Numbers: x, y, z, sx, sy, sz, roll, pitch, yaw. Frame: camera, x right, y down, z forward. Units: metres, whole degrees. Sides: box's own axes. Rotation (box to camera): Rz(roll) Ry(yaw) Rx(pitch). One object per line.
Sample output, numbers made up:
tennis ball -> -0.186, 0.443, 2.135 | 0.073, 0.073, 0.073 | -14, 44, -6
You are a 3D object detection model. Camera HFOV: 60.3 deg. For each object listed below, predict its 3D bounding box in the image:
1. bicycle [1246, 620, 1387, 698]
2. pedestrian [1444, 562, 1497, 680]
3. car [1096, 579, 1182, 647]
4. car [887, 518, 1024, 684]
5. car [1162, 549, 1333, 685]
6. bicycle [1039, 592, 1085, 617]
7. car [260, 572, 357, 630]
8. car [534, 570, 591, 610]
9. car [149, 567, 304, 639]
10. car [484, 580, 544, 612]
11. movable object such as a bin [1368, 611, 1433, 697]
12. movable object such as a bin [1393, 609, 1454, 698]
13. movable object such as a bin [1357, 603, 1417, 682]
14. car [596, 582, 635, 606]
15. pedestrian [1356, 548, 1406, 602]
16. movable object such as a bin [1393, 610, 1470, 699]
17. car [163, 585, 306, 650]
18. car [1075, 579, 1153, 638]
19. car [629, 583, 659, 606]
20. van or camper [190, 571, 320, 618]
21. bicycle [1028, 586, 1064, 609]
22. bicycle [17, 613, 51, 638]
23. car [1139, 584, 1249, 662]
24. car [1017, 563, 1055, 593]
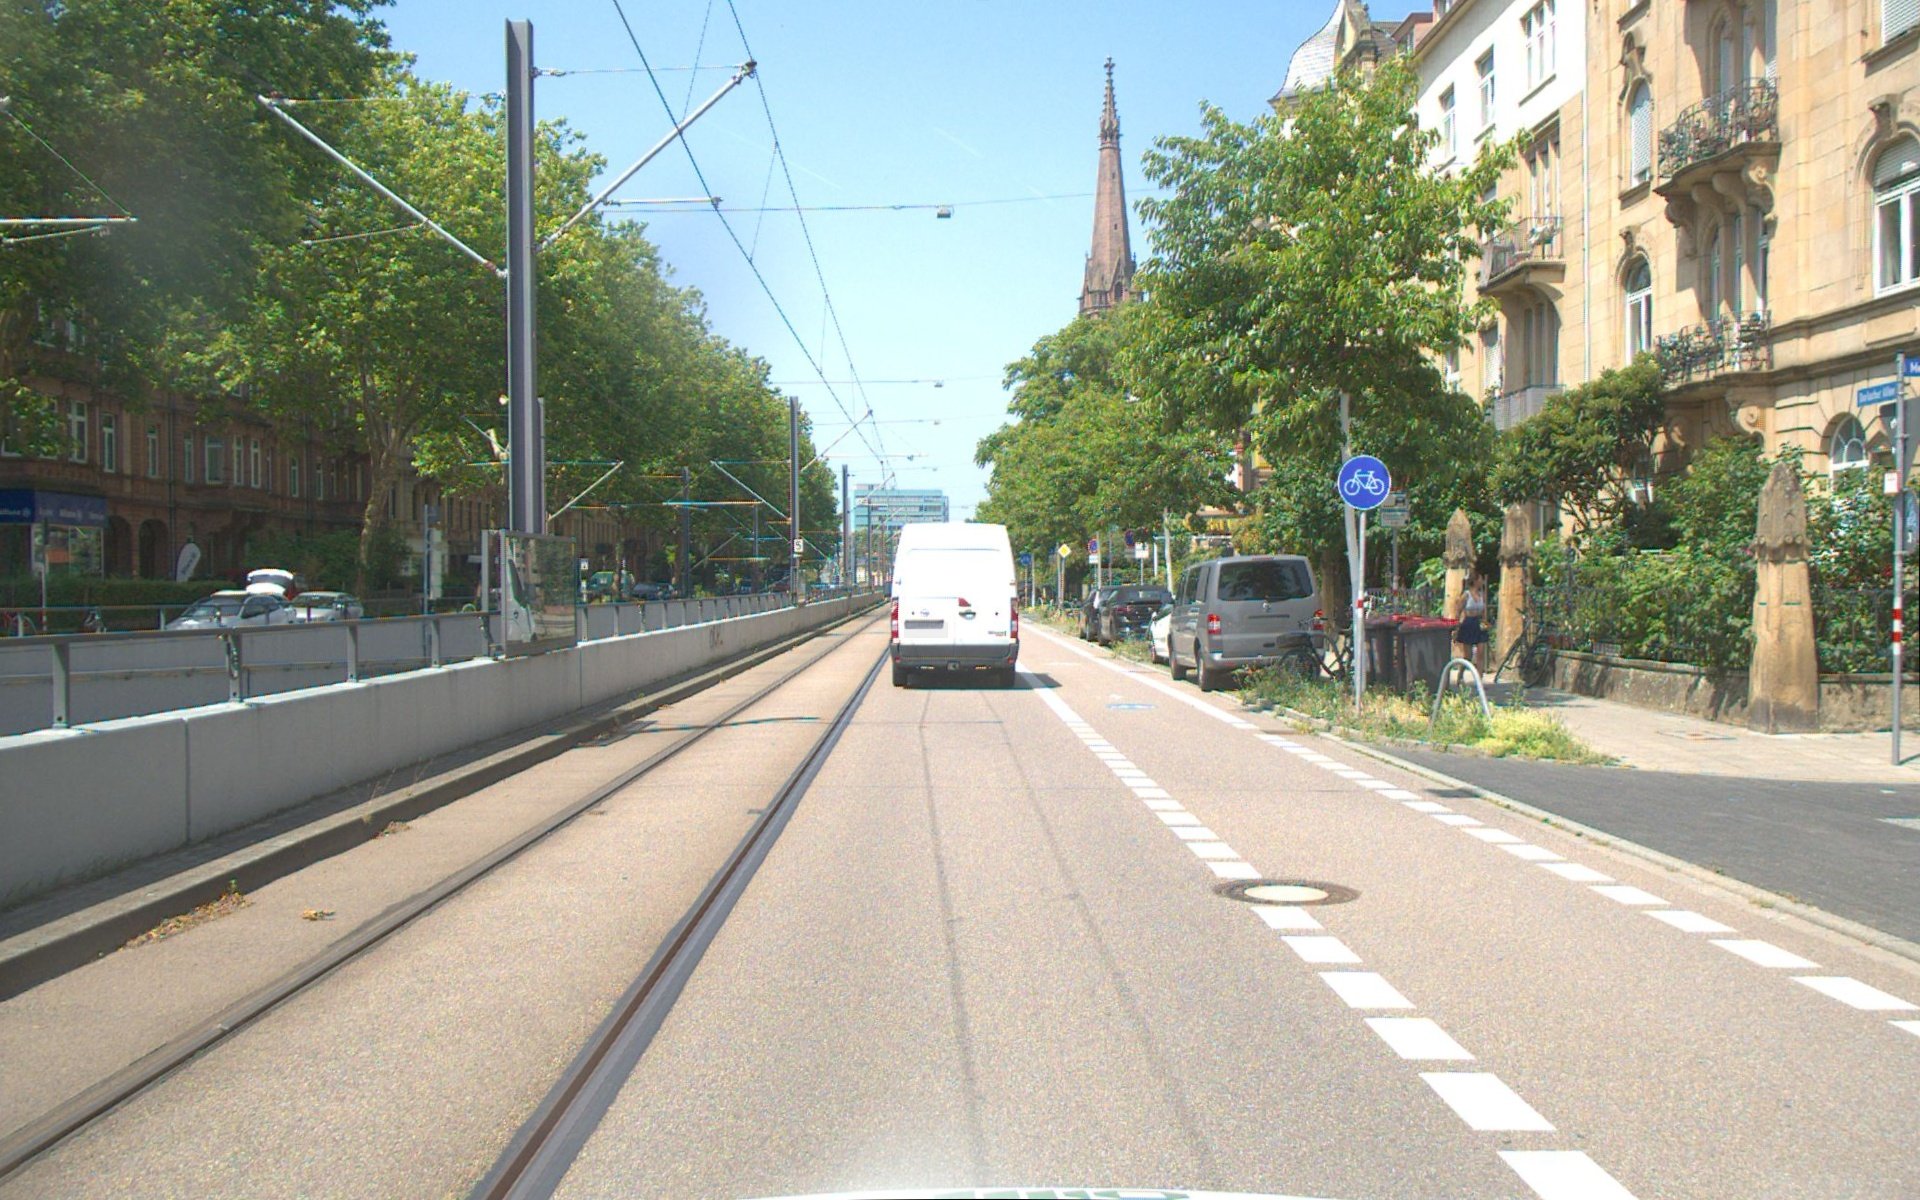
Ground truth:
bicycle -> 4.864, 0.796, 22.583 | 1.847, 1.009, 0.469 | -1, 0, -11
pedestrian -> 7.160, 0.282, 23.207 | 0.540, 1.626, 0.728 | 0, 0, 1
car -> 4.394, 0.282, 41.089 | 1.633, 1.557, 4.012 | -1, 1, -1
car -> -0.151, -0.024, 27.531 | 2.074, 2.502, 5.052 | 0, 1, -2
car -> 4.522, 0.220, 26.706 | 1.841, 1.981, 4.836 | -1, 1, -1
bicycle -> 4.076, 0.175, 66.146 | 1.804, 0.970, 0.503 | -1, 0, 0
car -> -19.922, 0.014, 50.722 | 1.620, 1.714, 3.706 | 0, 1, -2
car -> -19.924, -0.514, 83.070 | 1.953, 1.937, 4.147 | 0, 1, -2
car -> -17.109, 0.045, 38.783 | 1.511, 1.589, 3.882 | 0, 1, 7
car -> -20.822, -0.196, 77.361 | 1.814, 1.425, 4.196 | 0, 1, -2
movable object such as a bin -> 5.627, 0.684, 21.139 | 0.730, 1.080, 0.496 | 0, 0, 5
movable object such as a bin -> 5.747, 0.654, 20.522 | 0.655, 1.080, 0.496 | 0, 0, 5
movable object such as a bin -> 5.646, 0.556, 21.885 | 0.585, 1.028, 0.564 | 0, 1, -11
car -> -20.974, -0.384, 100.864 | 1.560, 1.473, 4.000 | 0, 1, -1
pedestrian -> 8.666, -0.514, 34.096 | 0.847, 1.088, 0.762 | -1, 0, 3
movable object such as a bin -> 5.639, 0.647, 19.825 | 0.771, 1.031, 0.650 | -1, 0, 5
car -> -19.759, 0.438, 45.287 | 1.953, 1.653, 4.717 | 0, 1, -2
car -> 4.294, 0.205, 46.729 | 1.694, 1.562, 4.403 | 0, 1, -1
car -> -20.838, -0.377, 109.144 | 1.345, 1.448, 3.088 | -1, 1, 0
van or camper -> -28.583, -0.219, 67.102 | 4.448, 1.868, 1.933 | 0, 1, 5
bicycle -> 4.472, -0.143, 85.916 | 1.849, 1.202, 0.640 | 0, 0, -3
bicycle -> -26.096, 0.725, 46.625 | 0.274, 0.662, 1.343 | 0, 1, -3
car -> 4.641, 0.420, 33.271 | 1.578, 1.430, 4.000 | -1, 1, -1
car -> 4.366, -1.262, 96.118 | 2.112, 1.699, 4.001 | 0, 1, 1
